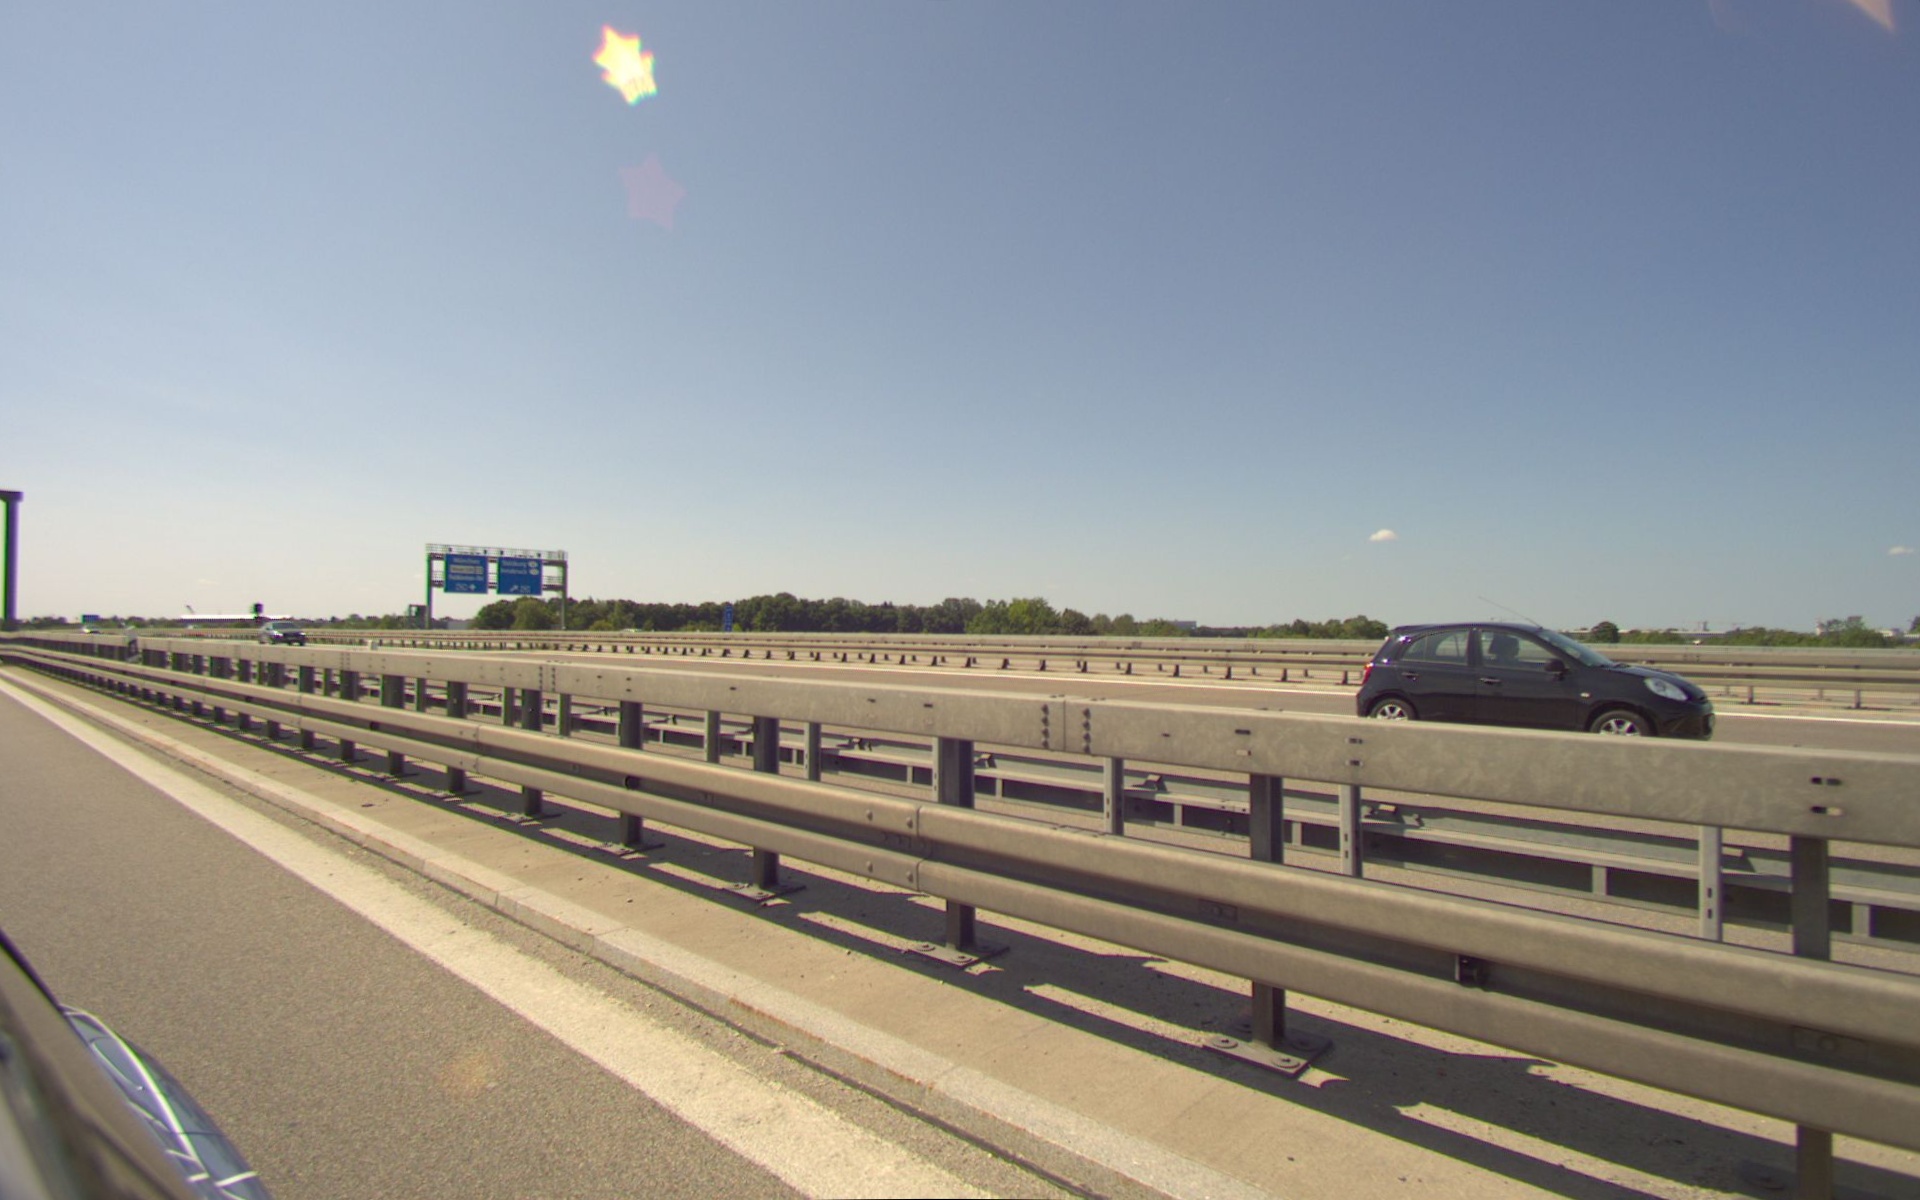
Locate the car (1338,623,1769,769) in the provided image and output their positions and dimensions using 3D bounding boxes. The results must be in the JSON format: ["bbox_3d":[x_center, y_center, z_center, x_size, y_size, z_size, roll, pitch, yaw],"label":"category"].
[{"bbox_3d":[7.041,1.017,12.290,4.217,1.443,1.810,-1,-1,43],"label":"car"}]

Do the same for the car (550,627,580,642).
[{"bbox_3d":[-41.205,3.597,105.442,3.343,1.364,1.561,2,0,42],"label":"car"}]

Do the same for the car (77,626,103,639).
[{"bbox_3d":[-104.887,3.914,122.006,4.576,1.529,1.818,-1,-2,43],"label":"car"}]

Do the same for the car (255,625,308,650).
[{"bbox_3d":[-43.194,2.372,64.383,4.576,1.529,1.818,-1,-2,43],"label":"car"}]
